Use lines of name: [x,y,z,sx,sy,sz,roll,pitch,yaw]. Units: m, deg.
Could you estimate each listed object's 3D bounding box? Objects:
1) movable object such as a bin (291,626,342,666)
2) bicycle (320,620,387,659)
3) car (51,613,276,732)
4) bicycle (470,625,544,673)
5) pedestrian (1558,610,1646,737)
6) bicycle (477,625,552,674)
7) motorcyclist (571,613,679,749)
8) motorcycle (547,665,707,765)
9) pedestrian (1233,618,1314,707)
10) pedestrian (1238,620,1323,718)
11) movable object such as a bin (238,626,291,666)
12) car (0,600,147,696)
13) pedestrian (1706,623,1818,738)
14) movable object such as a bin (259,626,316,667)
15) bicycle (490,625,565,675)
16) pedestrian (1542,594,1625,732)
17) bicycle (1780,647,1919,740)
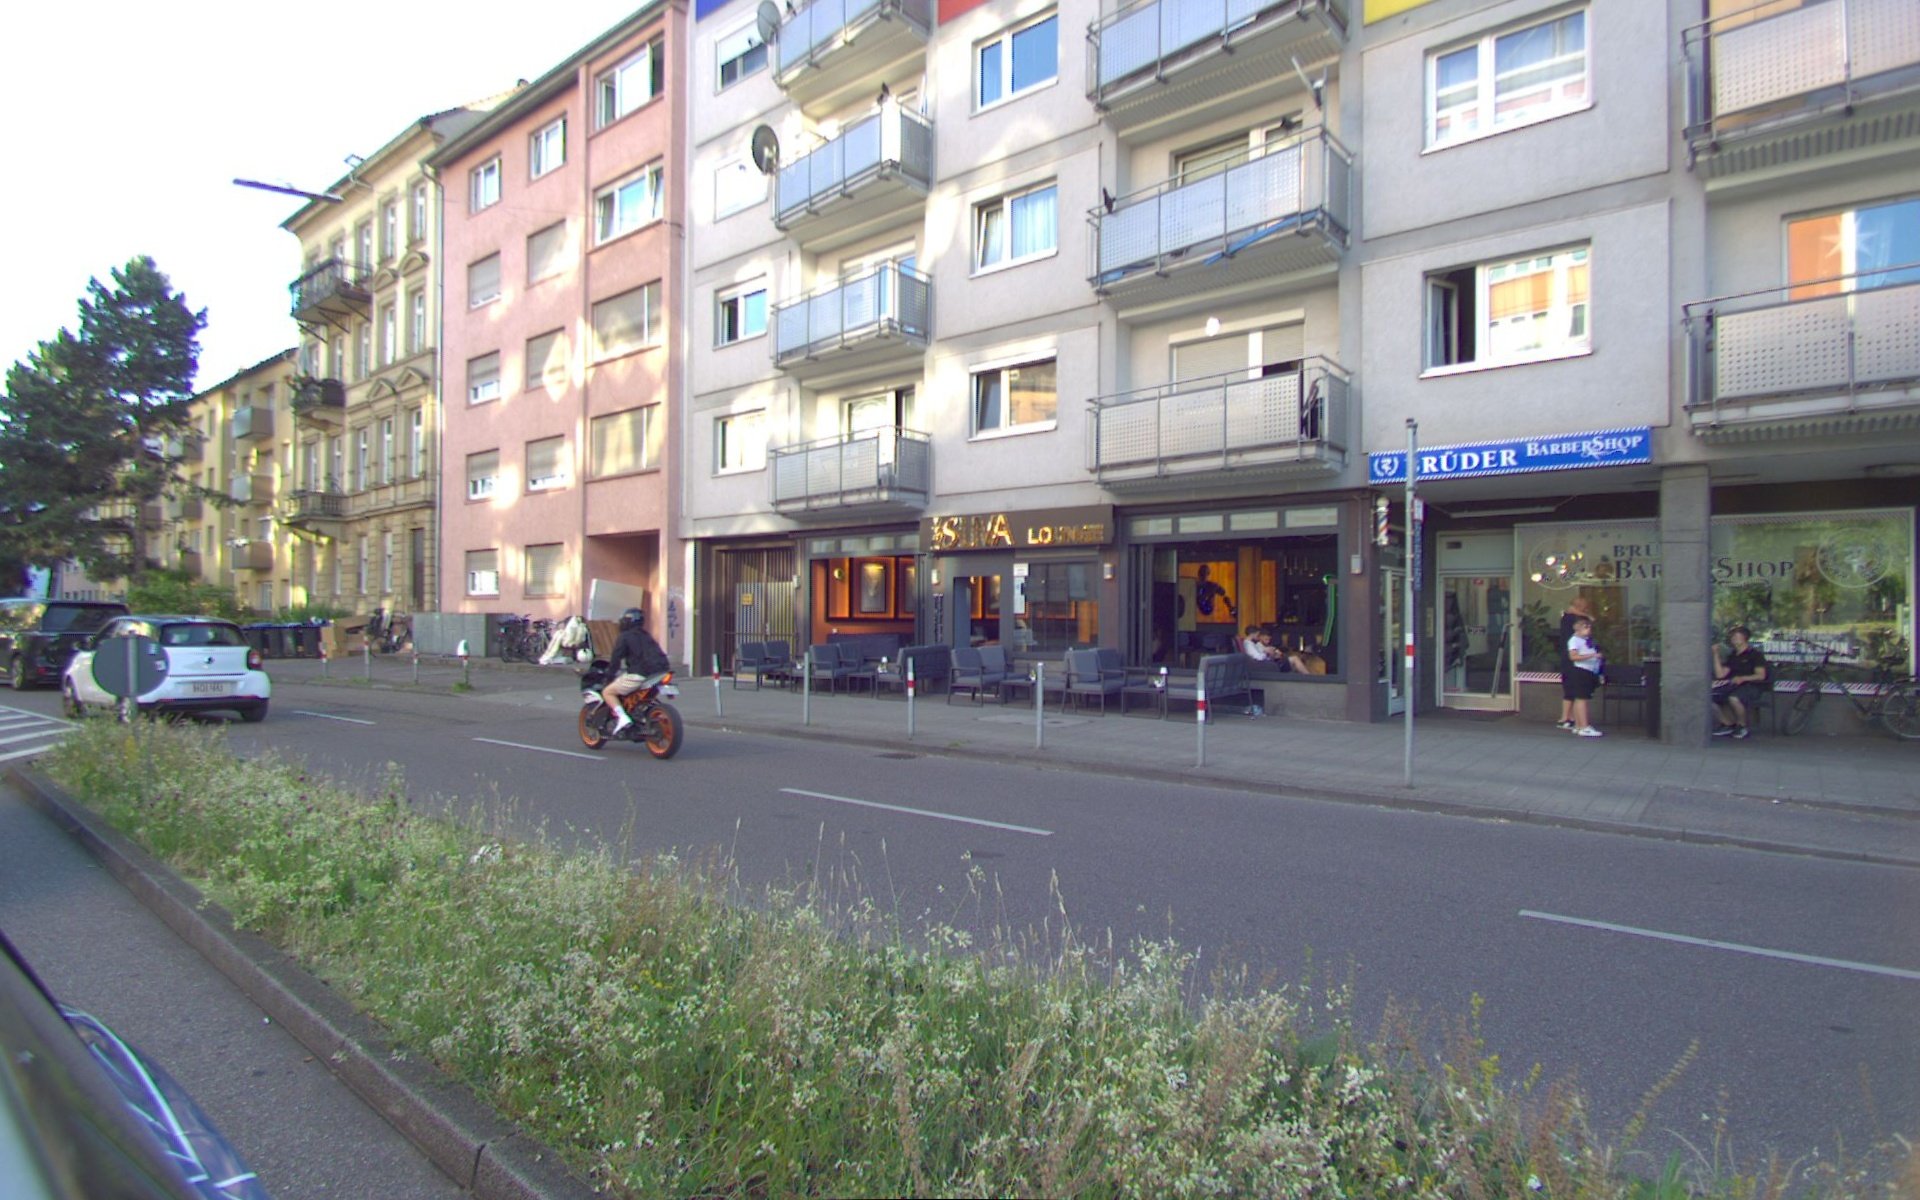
movable object such as a bin: [-20.297,1.443,31.926,0.837,1.242,1.193,0,-1,0]
bicycle: [-19.349,1.252,32.315,0.473,1.200,1.758,-1,-2,38]
car: [-11.756,0.996,14.899,3.394,1.554,1.578,-1,-2,33]
bicycle: [-11.889,1.266,26.605,0.473,1.200,1.758,-1,-2,38]
pedestrian: [7.653,0.861,12.091,0.650,1.478,0.625,0,-1,5]
bicycle: [-11.500,1.262,26.168,0.473,1.200,1.758,-1,-2,38]
motorcyclist: [-3.790,0.889,11.452,0.957,1.452,0.741,-1,-3,39]
motorcycle: [-3.794,1.250,11.452,2.046,0.970,0.741,-1,-2,40]
pedestrian: [4.973,0.966,16.053,0.974,1.357,0.871,-1,-2,40]
pedestrian: [4.673,0.970,14.739,0.882,1.357,0.961,-1,-2,40]
movable object such as a bin: [-22.154,1.466,32.257,0.837,1.242,1.193,0,-1,0]
car: [-19.738,0.989,21.719,4.679,1.868,1.878,0,-2,29]
pedestrian: [9.495,0.939,12.003,0.798,1.323,0.626,0,-1,-3]
movable object such as a bin: [-21.226,1.453,31.974,0.916,1.242,1.292,0,-1,0]
bicycle: [-10.956,1.248,25.676,0.473,1.200,1.758,-1,-2,38]
pedestrian: [7.843,0.776,12.761,0.650,1.685,0.625,0,-1,5]
bicycle: [10.673,1.077,11.767,1.691,1.006,0.620,0,-1,32]
